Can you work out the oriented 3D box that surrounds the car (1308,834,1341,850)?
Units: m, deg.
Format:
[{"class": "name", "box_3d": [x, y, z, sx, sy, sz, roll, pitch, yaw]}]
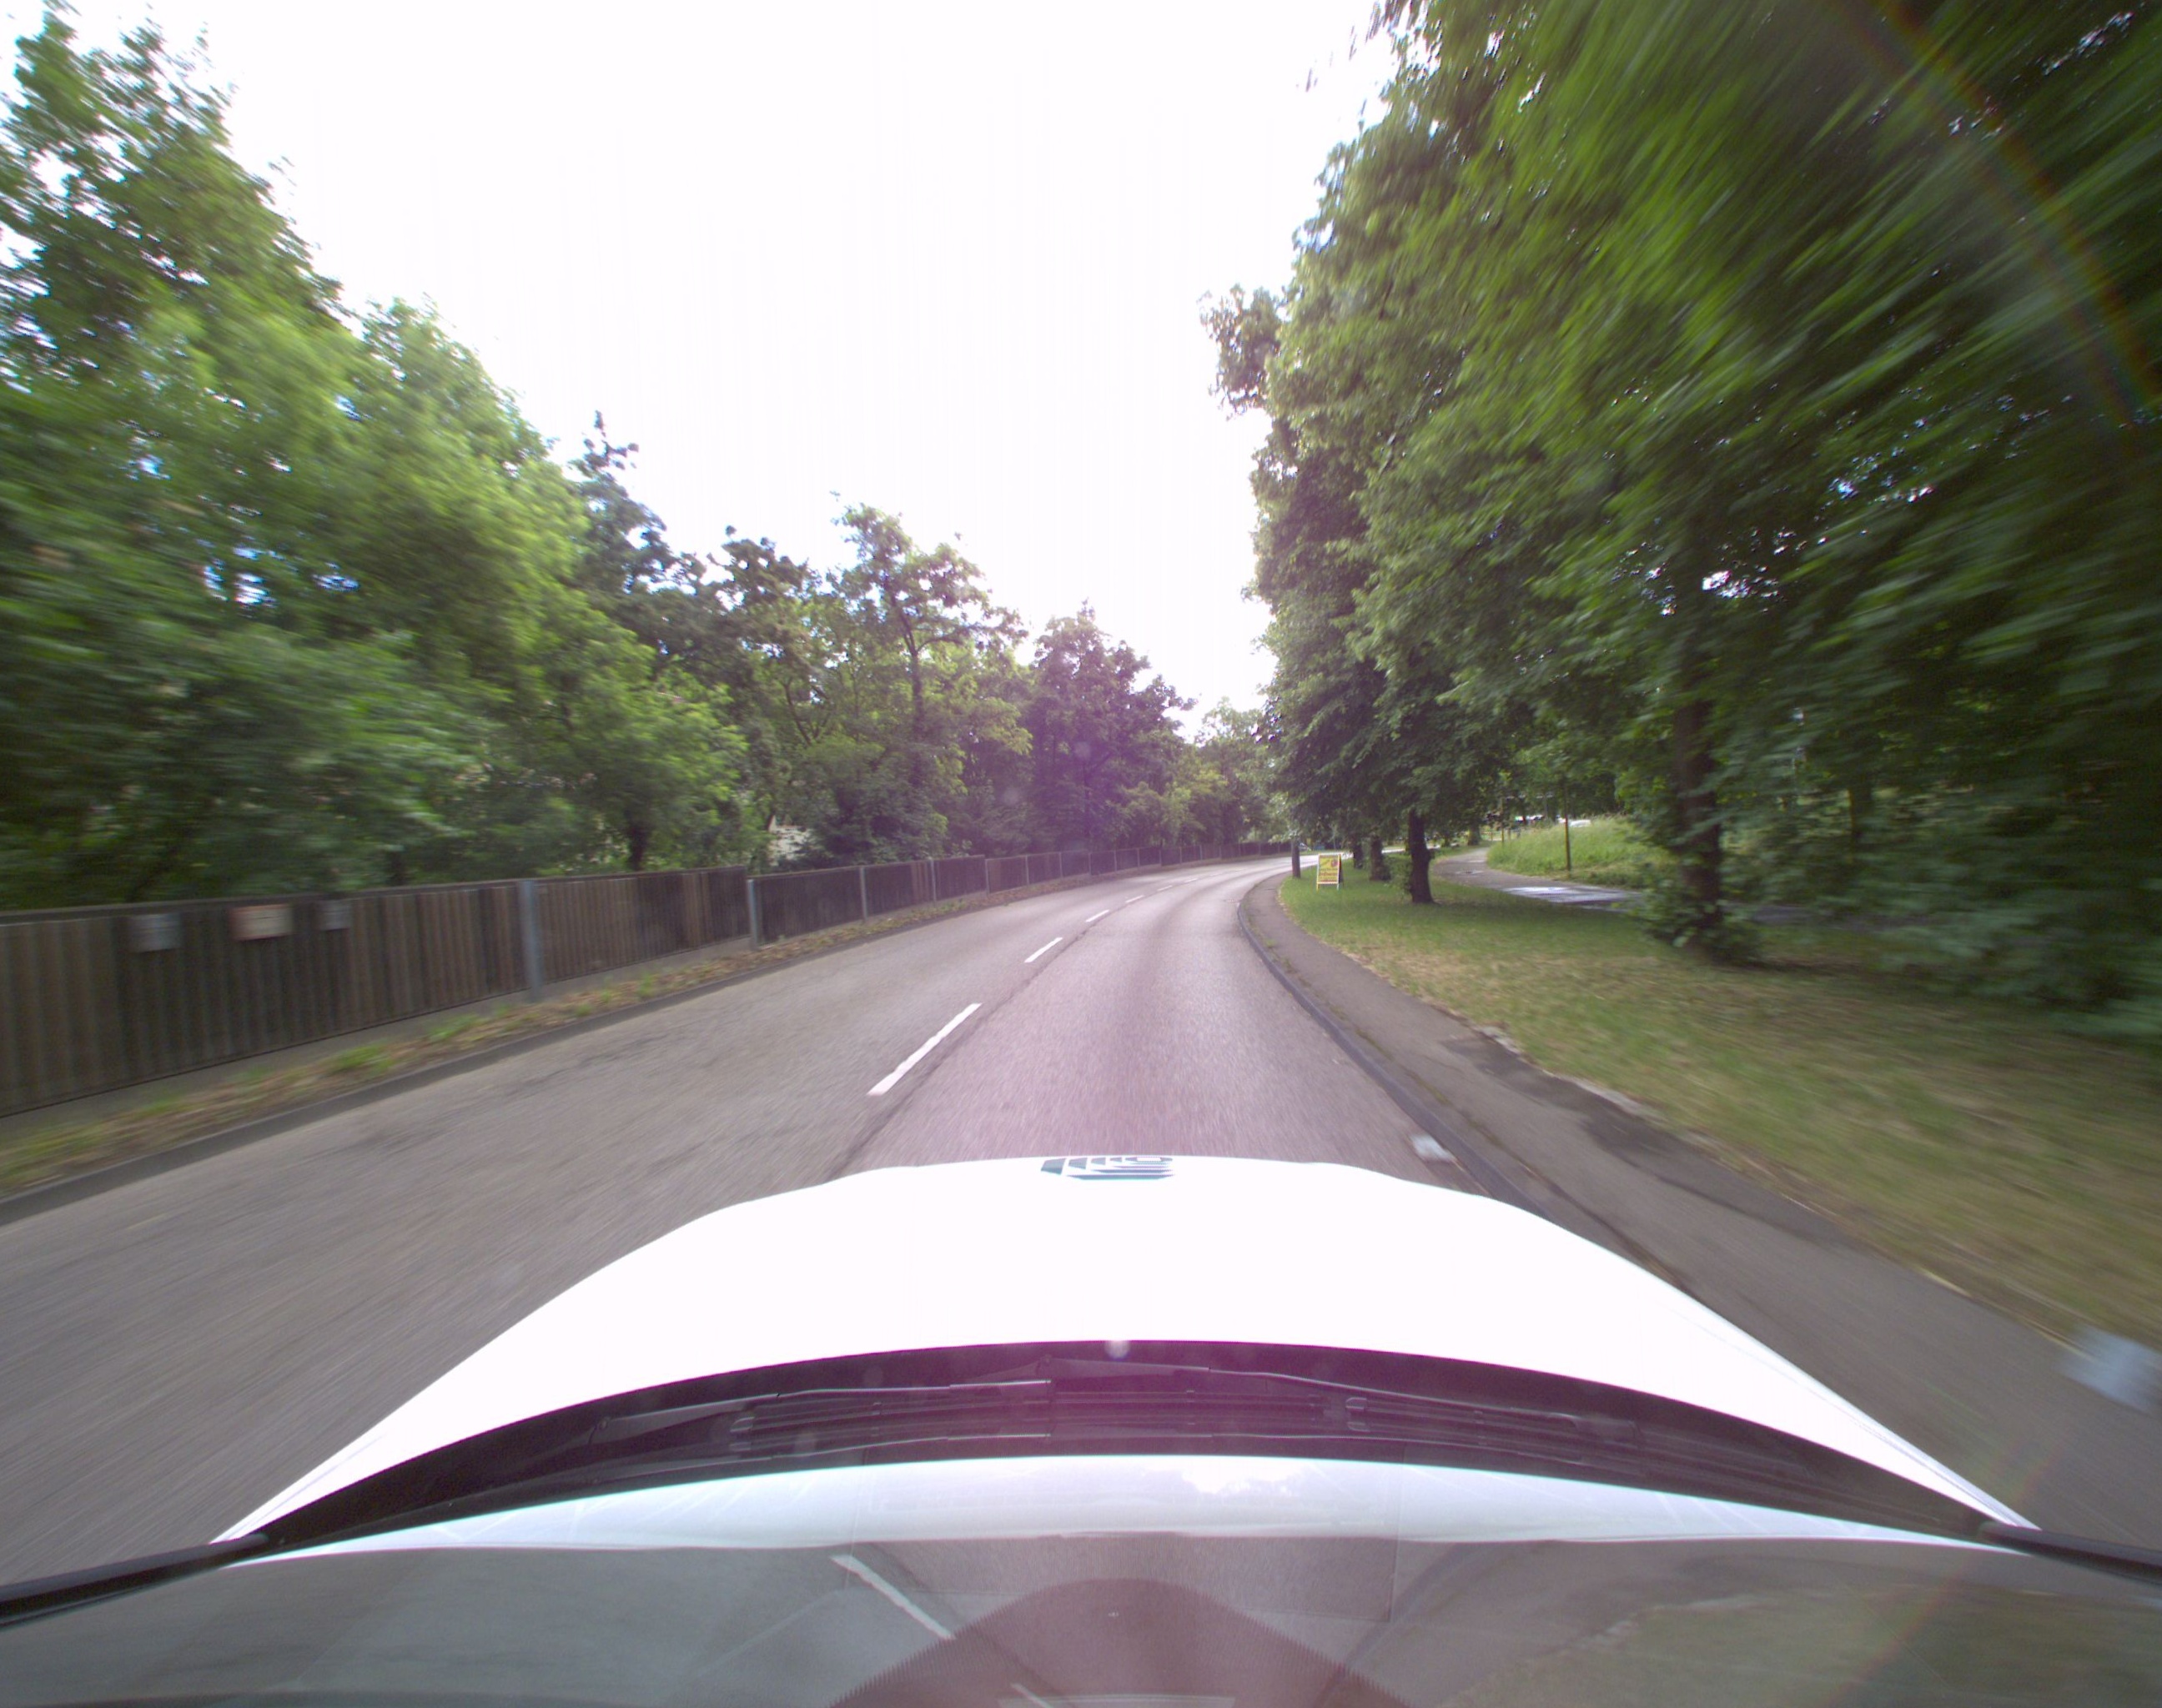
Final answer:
[{"class": "car", "box_3d": [29.999, -1.461, 100.283, 1.975, 1.618, 4.475, -6, -1, 44]}]
